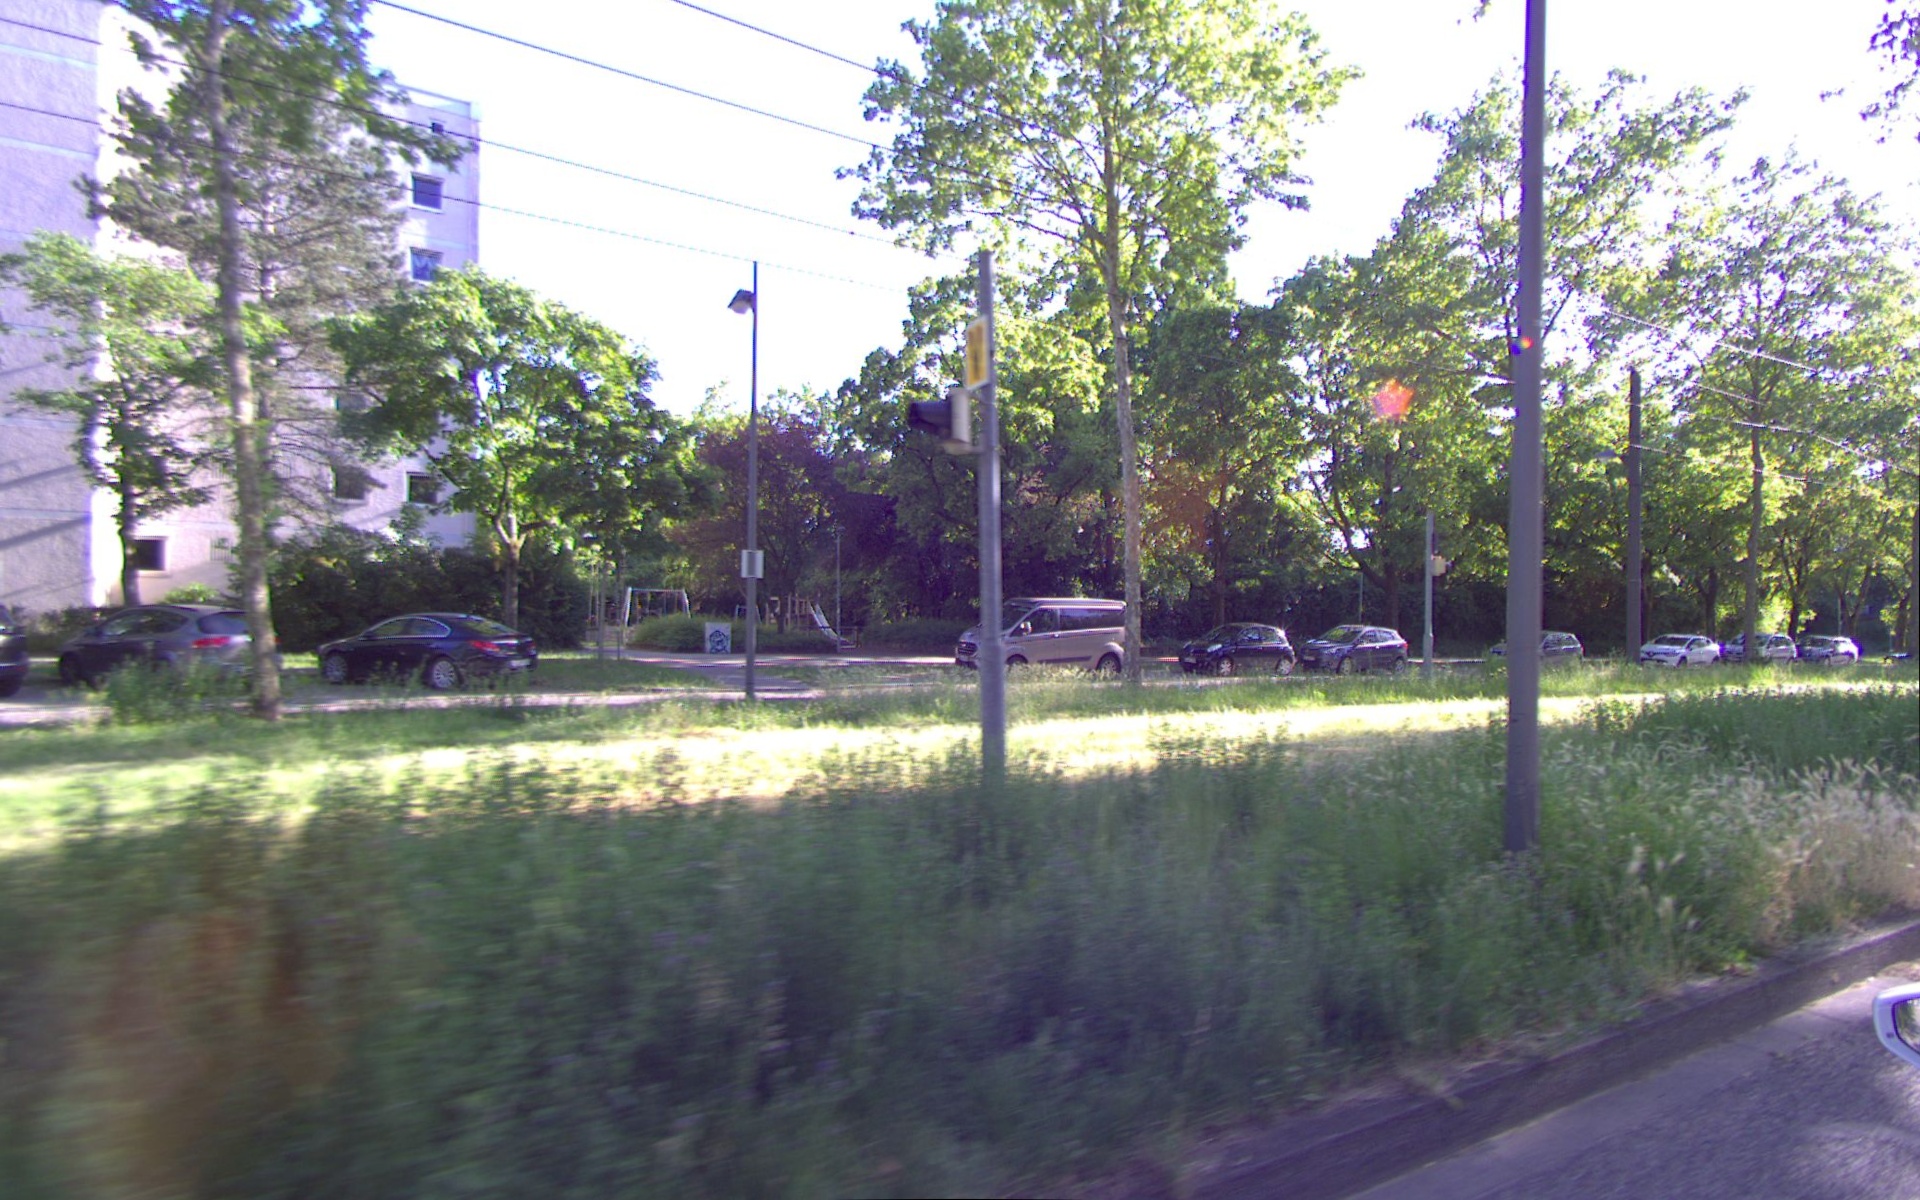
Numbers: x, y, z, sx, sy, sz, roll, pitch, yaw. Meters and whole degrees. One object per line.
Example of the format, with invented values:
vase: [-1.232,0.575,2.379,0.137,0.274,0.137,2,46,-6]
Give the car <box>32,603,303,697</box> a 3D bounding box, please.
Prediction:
car: [-14.704,0.883,18.679,4.397,1.589,1.796,0,-1,18]

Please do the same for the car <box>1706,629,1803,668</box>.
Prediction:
car: [36.642,2.215,46.314,4.116,1.611,1.985,1,2,-28]

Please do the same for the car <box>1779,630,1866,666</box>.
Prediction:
car: [41.869,2.310,48.761,4.116,1.611,1.779,1,2,-28]

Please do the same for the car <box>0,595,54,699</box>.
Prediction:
car: [-17.777,0.754,16.893,4.397,1.697,1.796,0,-1,18]

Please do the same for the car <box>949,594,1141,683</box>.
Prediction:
car: [2.259,0.981,26.274,4.853,2.121,1.638,1,2,-28]

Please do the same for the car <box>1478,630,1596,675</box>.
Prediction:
car: [21.543,1.941,37.504,3.950,1.472,1.985,1,2,-28]

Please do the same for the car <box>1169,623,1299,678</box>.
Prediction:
car: [8.224,1.495,30.127,3.618,1.472,1.638,1,2,-28]

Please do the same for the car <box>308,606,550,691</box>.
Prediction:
car: [-10.798,0.940,20.475,4.397,1.589,1.796,0,-1,18]

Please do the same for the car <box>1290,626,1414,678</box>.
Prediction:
car: [12.674,1.654,32.511,3.530,1.472,1.864,1,2,-28]

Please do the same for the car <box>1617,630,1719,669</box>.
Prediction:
car: [30.263,2.106,42.917,3.950,1.472,1.985,1,2,-28]
